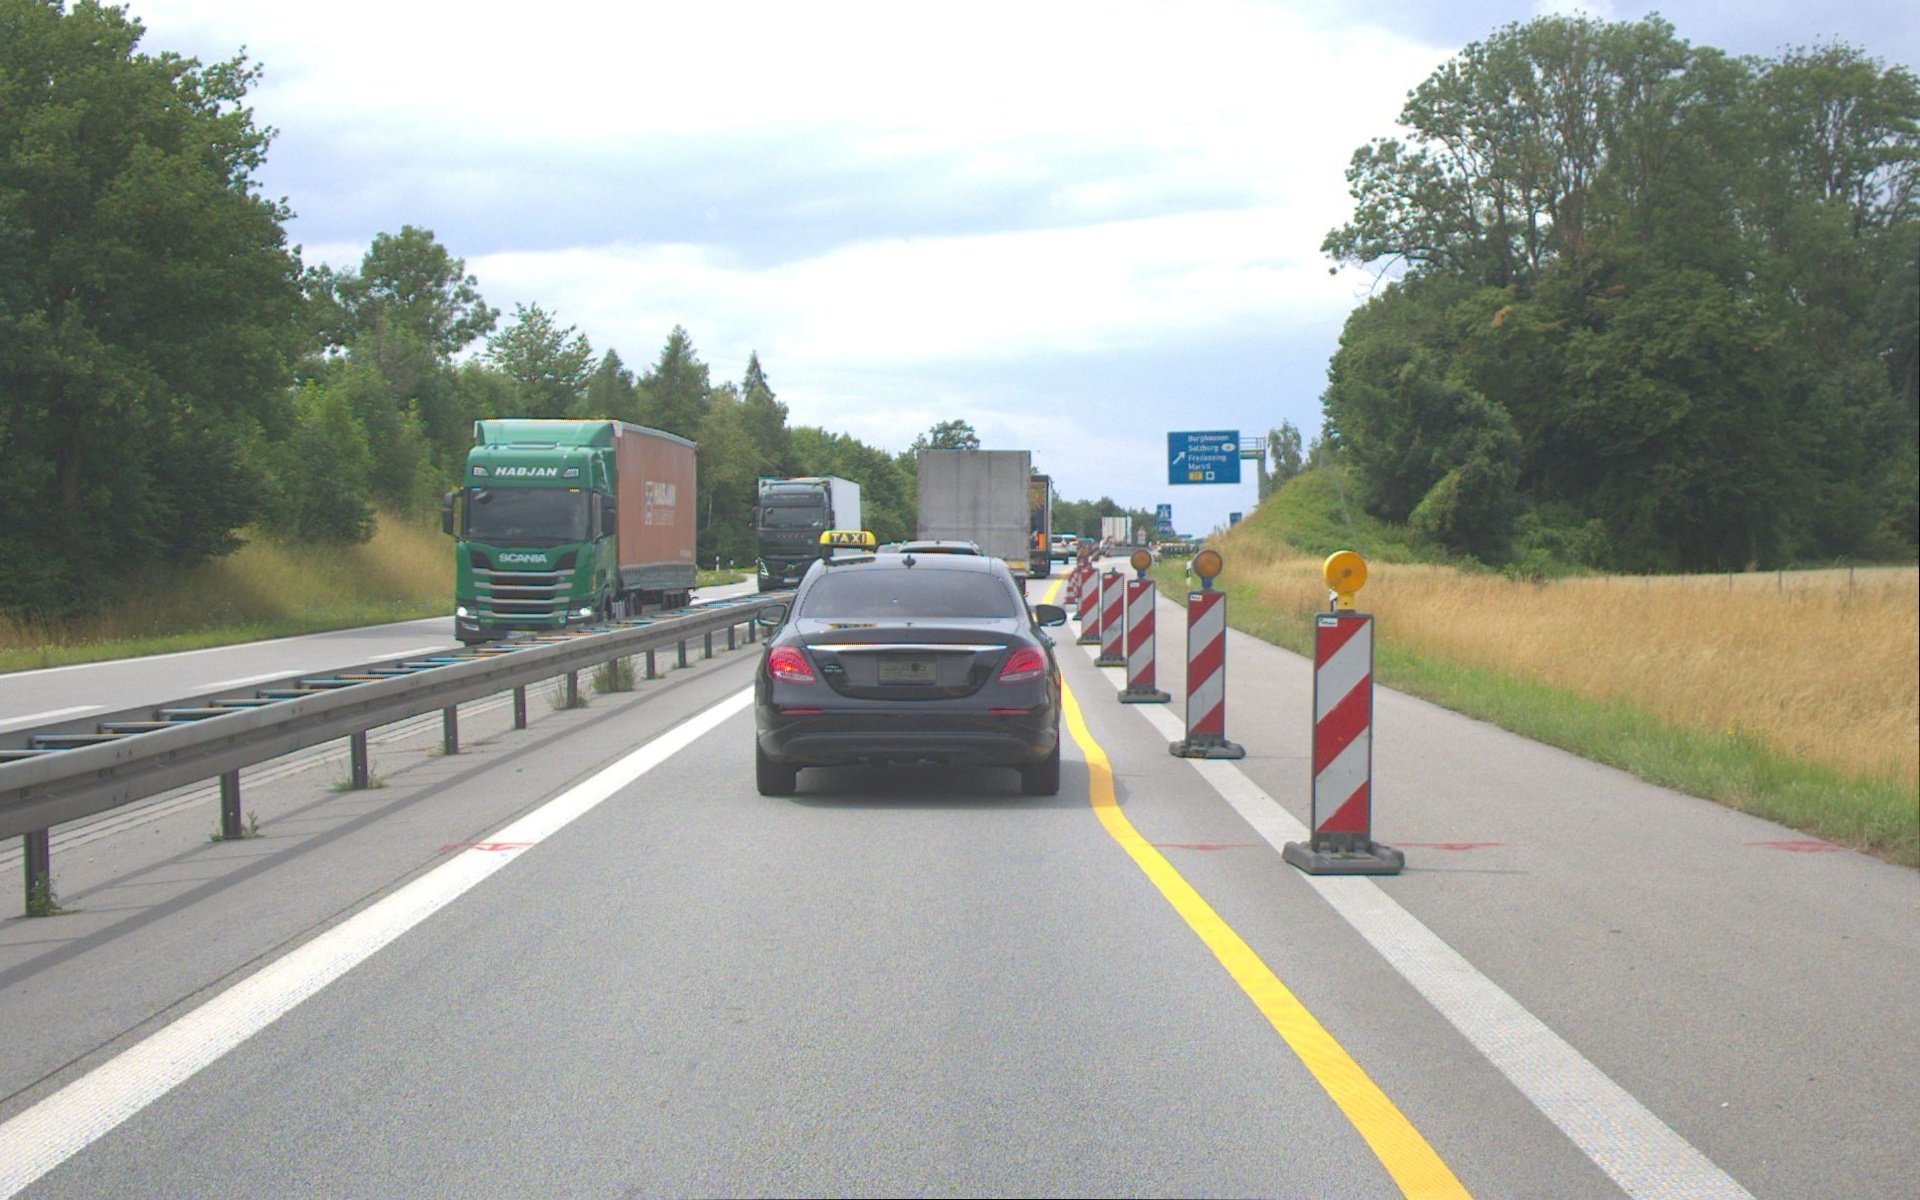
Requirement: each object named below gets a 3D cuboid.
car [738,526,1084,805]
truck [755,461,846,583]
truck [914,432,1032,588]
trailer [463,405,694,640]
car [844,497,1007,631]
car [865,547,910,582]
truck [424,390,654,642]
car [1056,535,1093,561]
[{"bbox_3d":[-0.209,0.359,21.454,1.796,1.554,3.999,1,0,4],"label":"car"},{"bbox_3d":[-5.575,-2.685,120.947,2.640,4.156,6.985,1,0,2],"label":"truck"},{"bbox_3d":[0.256,-2.053,80.332,2.587,3.512,4.813,1,0,-1],"label":"truck"},{"bbox_3d":[-7.336,-1.428,67.908,3.150,4.198,11.643,1,0,0],"label":"trailer"},{"bbox_3d":[-0.579,-0.552,54.141,1.993,2.007,4.001,1,0,-9],"label":"car"},{"bbox_3d":[-3.471,-1.695,165.942,1.993,1.612,4.000,1,0,1],"label":"car"},{"bbox_3d":[-7.394,-1.431,61.243,3.123,4.198,6.781,1,0,1],"label":"truck"},{"bbox_3d":[6.403,-2.919,192.878,1.649,1.391,3.706,1,0,-4],"label":"car"}]
